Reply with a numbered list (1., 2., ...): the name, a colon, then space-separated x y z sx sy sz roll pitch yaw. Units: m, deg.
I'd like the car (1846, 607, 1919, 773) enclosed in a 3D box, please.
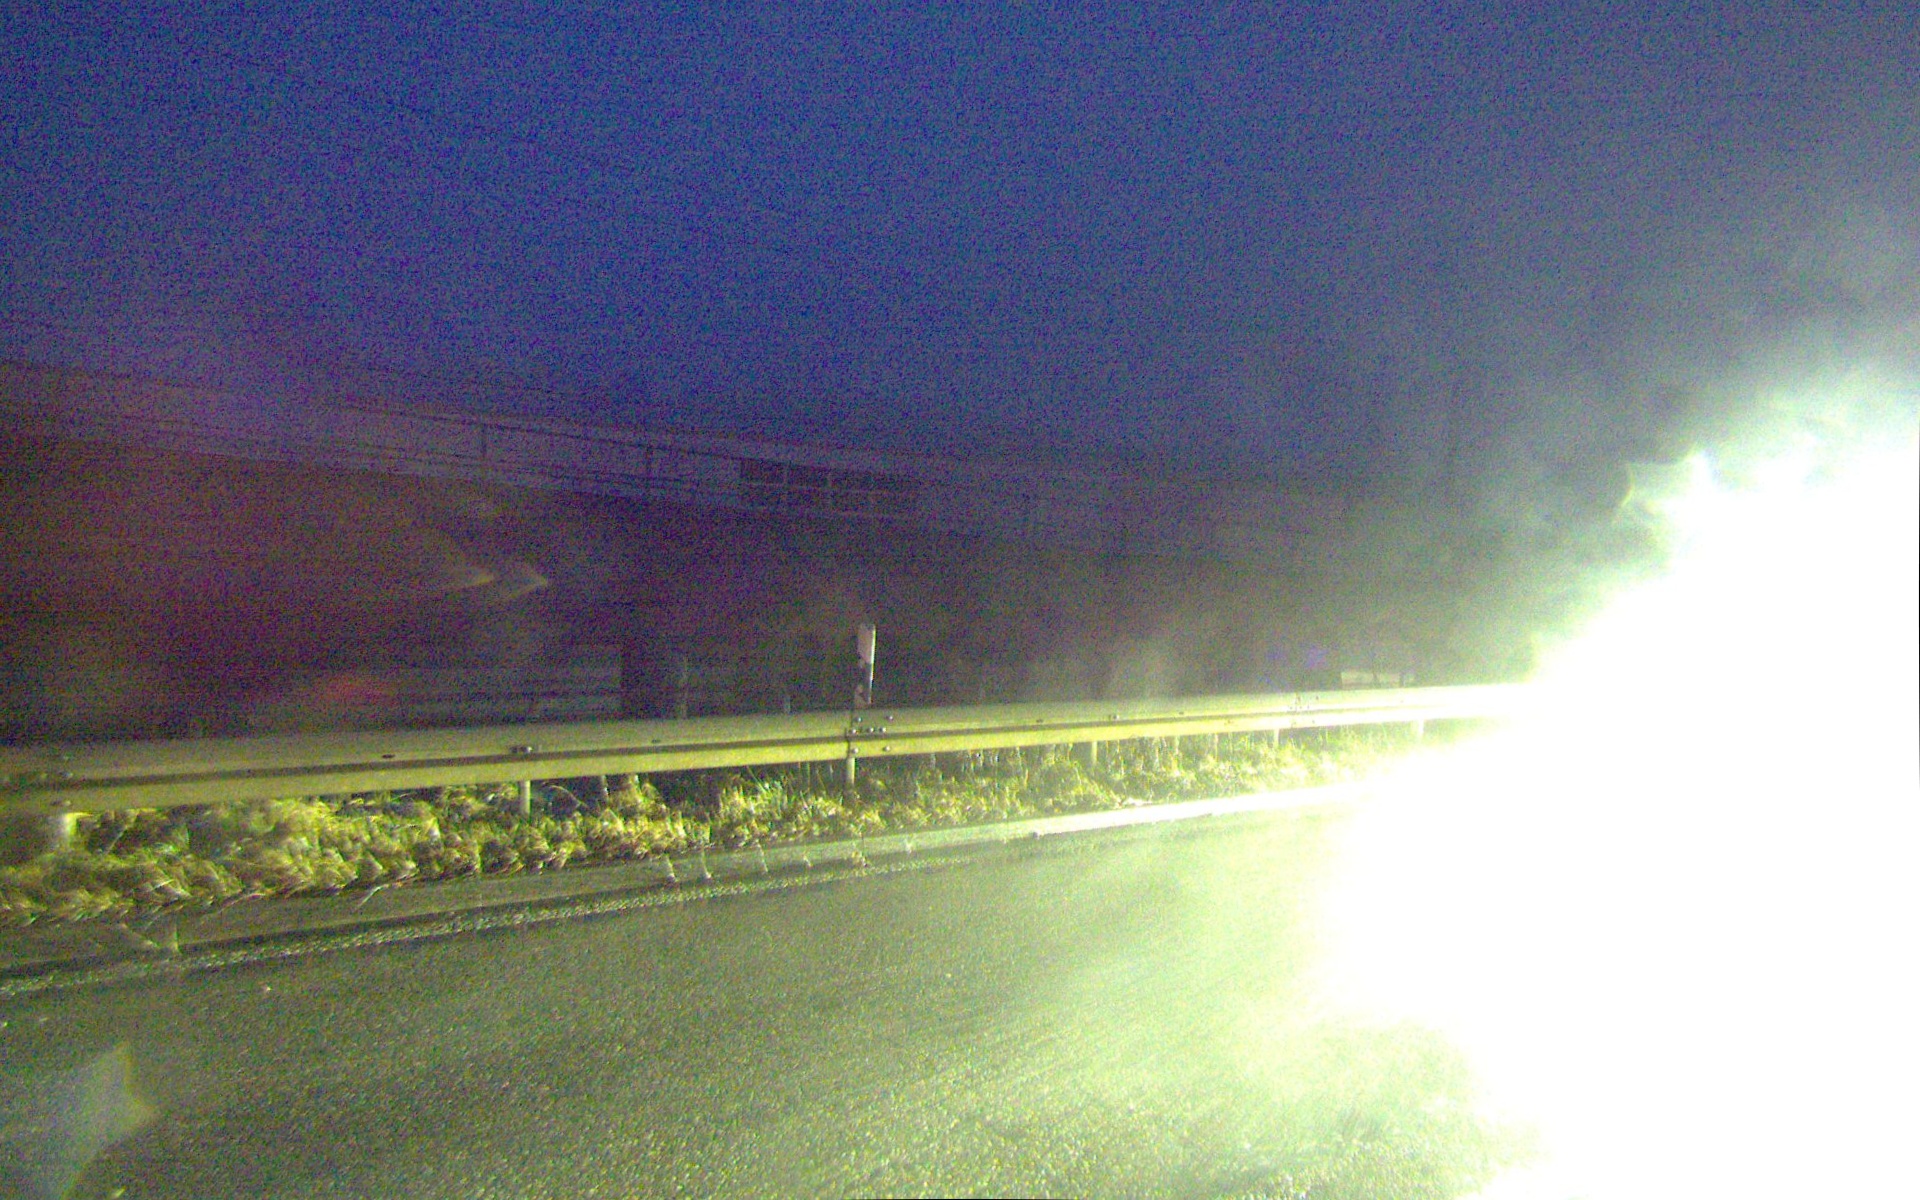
1. car: 11.113 0.889 10.318 4.208 1.566 1.828 1 0 -31
